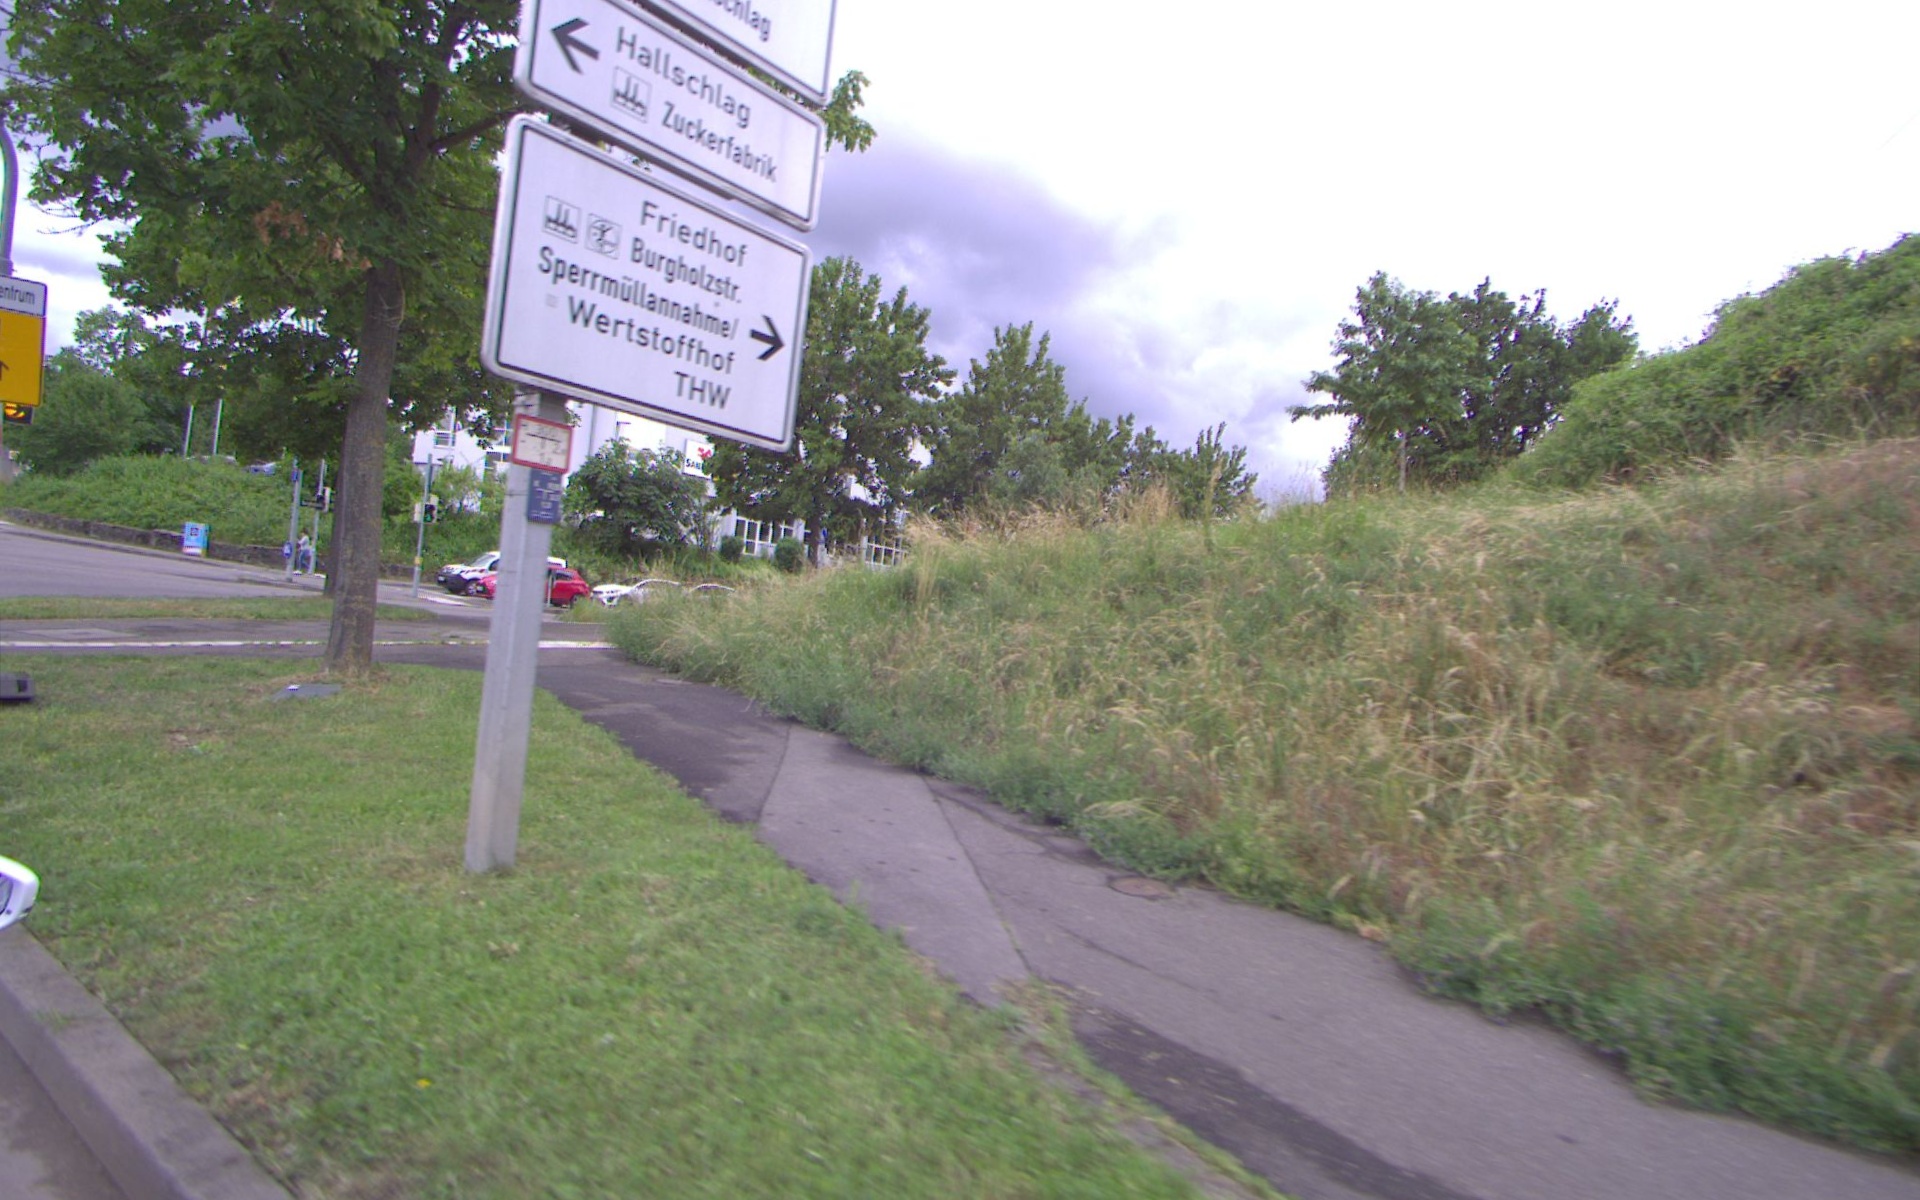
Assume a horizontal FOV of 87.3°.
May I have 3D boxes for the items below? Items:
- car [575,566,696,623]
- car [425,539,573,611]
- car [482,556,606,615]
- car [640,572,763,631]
[{"bbox_3d":[-13.868,-0.209,43.234,1.969,1.745,4.508,6,-3,36],"label":"car"},{"bbox_3d":[-17.287,-0.908,37.912,1.969,1.931,4.508,6,-3,36],"label":"car"},{"bbox_3d":[-14.907,-0.495,36.186,1.969,1.547,3.483,6,-3,36],"label":"car"},{"bbox_3d":[-10.545,0.097,41.308,1.969,1.745,4.508,6,-3,36],"label":"car"}]
